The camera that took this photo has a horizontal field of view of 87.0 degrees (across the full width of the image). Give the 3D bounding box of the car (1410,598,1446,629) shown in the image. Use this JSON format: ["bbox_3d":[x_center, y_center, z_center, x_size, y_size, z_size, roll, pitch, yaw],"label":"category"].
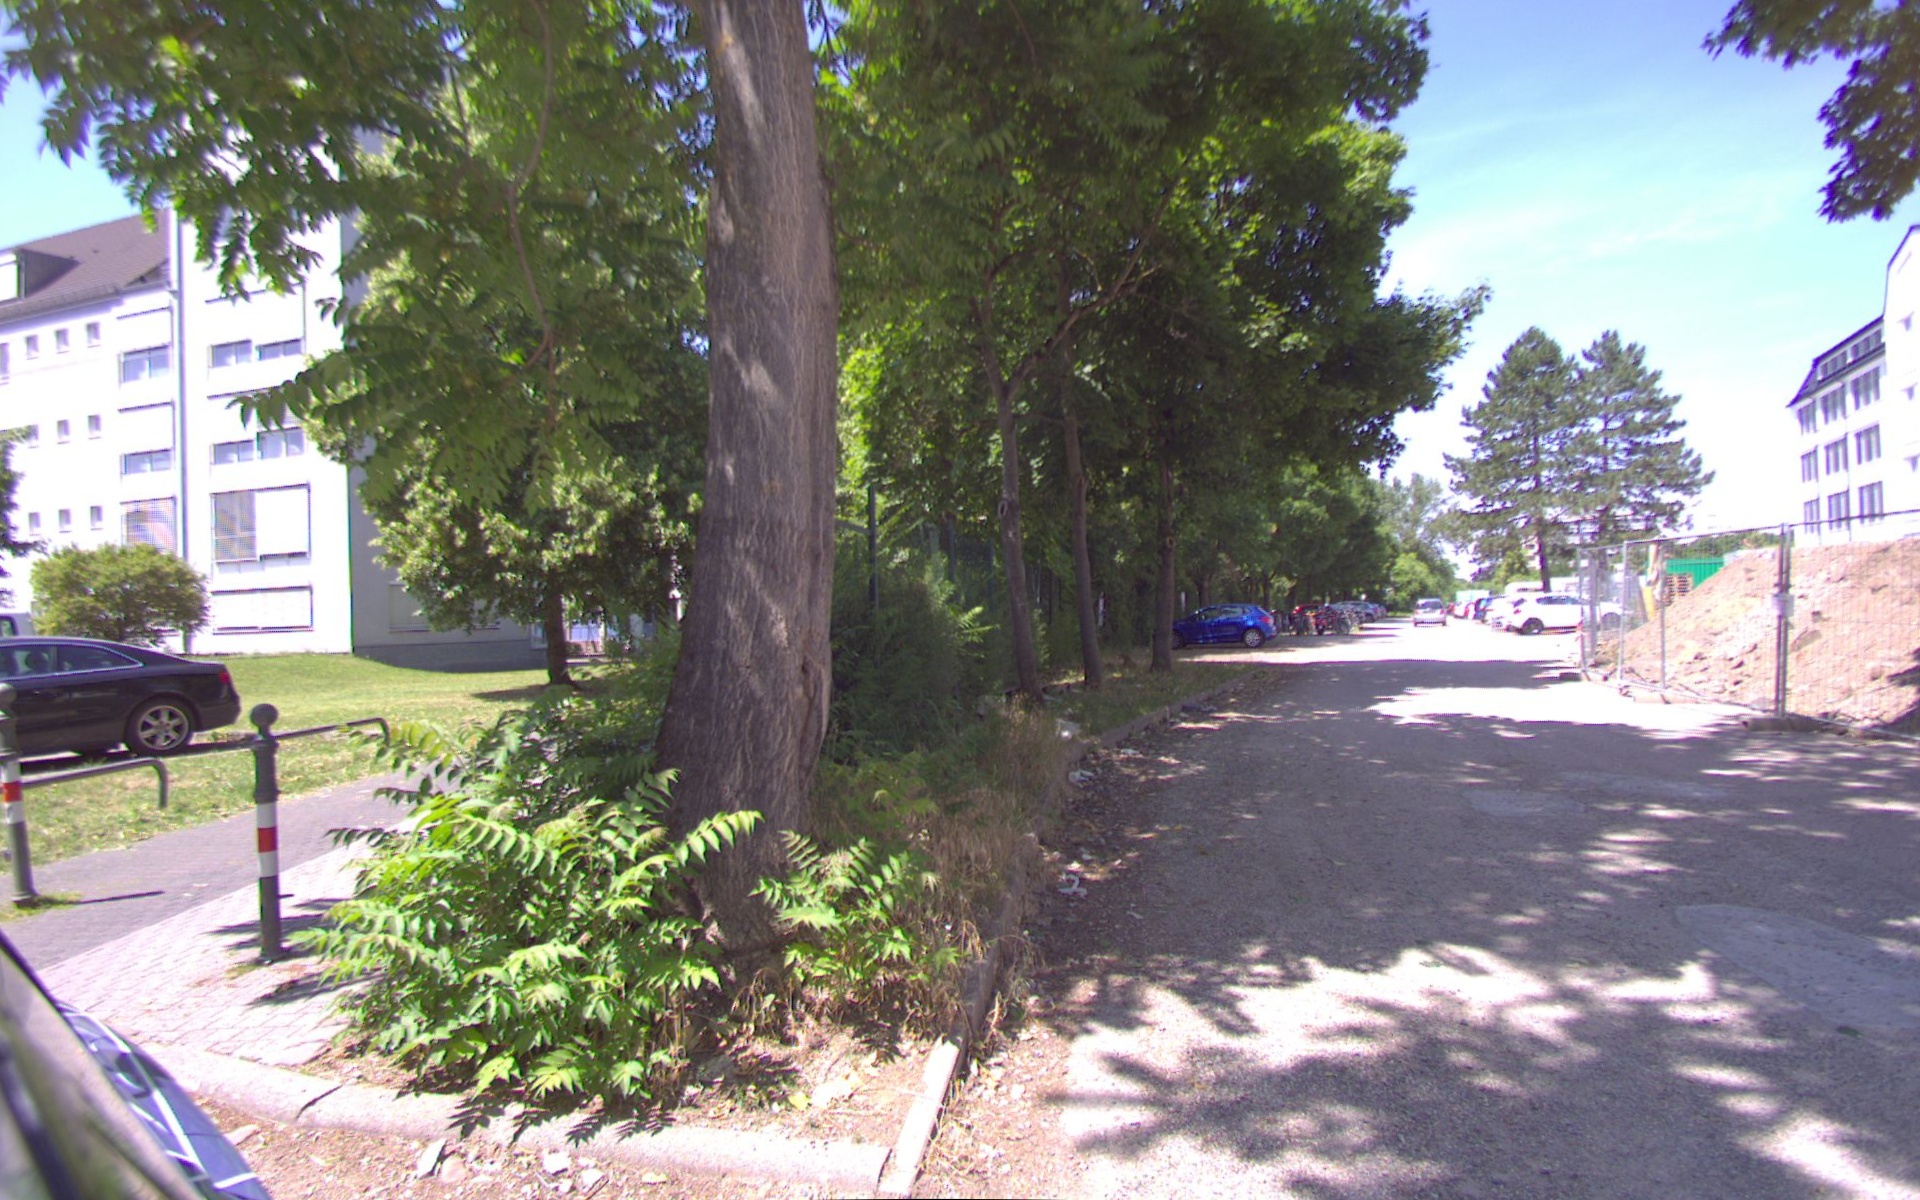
[{"bbox_3d":[27.155,0.774,58.770,1.800,1.668,3.892,-2,-1,24],"label":"car"}]

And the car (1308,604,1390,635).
[{"bbox_3d":[18.788,0.963,48.929,3.601,1.425,1.379,-2,-1,21],"label":"car"}]

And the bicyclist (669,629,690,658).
[{"bbox_3d":[-10.587,1.628,38.171,0.515,1.053,0.517,-5,-3,28],"label":"bicyclist"}]

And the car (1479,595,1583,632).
[{"bbox_3d":[24.986,0.593,44.397,3.696,1.505,1.445,-2,-1,19],"label":"car"}]

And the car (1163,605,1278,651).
[{"bbox_3d":[8.559,0.918,33.243,3.526,1.432,1.573,-2,-1,20],"label":"car"}]

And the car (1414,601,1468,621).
[{"bbox_3d":[38.897,0.918,81.914,3.696,1.505,1.445,-2,-1,19],"label":"car"}]

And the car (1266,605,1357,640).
[{"bbox_3d":[15.092,0.967,43.482,3.601,1.425,1.444,-2,-1,21],"label":"car"}]

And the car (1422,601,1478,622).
[{"bbox_3d":[38.189,0.885,78.969,3.696,1.505,1.445,-2,-1,19],"label":"car"}]

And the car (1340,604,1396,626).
[{"bbox_3d":[29.600,1.116,73.486,3.696,1.505,1.445,-2,-1,19],"label":"car"}]

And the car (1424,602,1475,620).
[{"bbox_3d":[41.824,0.934,86.565,3.696,1.505,1.445,-2,-1,19],"label":"car"}]

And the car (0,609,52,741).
[{"bbox_3d":[-15.620,1.102,13.517,2.058,1.898,4.818,-2,-1,28],"label":"car"}]

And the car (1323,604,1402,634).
[{"bbox_3d":[20.190,0.966,50.897,3.601,1.425,1.379,-2,-1,21],"label":"car"}]

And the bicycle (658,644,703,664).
[{"bbox_3d":[-10.536,2.020,38.235,0.730,0.646,1.602,-5,-2,26],"label":"bicycle"}]

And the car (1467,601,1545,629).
[{"bbox_3d":[31.303,0.847,58.133,3.696,1.505,1.445,-2,-1,19],"label":"car"}]

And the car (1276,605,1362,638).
[{"bbox_3d":[16.284,0.965,45.918,3.601,1.425,1.379,-2,-1,21],"label":"car"}]

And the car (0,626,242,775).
[{"bbox_3d":[-10.101,1.042,10.058,2.014,1.390,4.402,-4,-2,28],"label":"car"}]

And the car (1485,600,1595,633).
[{"bbox_3d":[23.990,0.683,41.967,3.696,1.287,1.445,-2,-1,19],"label":"car"}]

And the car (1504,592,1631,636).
[{"bbox_3d":[22.131,0.531,37.020,3.696,1.505,1.445,-2,-1,19],"label":"car"}]
